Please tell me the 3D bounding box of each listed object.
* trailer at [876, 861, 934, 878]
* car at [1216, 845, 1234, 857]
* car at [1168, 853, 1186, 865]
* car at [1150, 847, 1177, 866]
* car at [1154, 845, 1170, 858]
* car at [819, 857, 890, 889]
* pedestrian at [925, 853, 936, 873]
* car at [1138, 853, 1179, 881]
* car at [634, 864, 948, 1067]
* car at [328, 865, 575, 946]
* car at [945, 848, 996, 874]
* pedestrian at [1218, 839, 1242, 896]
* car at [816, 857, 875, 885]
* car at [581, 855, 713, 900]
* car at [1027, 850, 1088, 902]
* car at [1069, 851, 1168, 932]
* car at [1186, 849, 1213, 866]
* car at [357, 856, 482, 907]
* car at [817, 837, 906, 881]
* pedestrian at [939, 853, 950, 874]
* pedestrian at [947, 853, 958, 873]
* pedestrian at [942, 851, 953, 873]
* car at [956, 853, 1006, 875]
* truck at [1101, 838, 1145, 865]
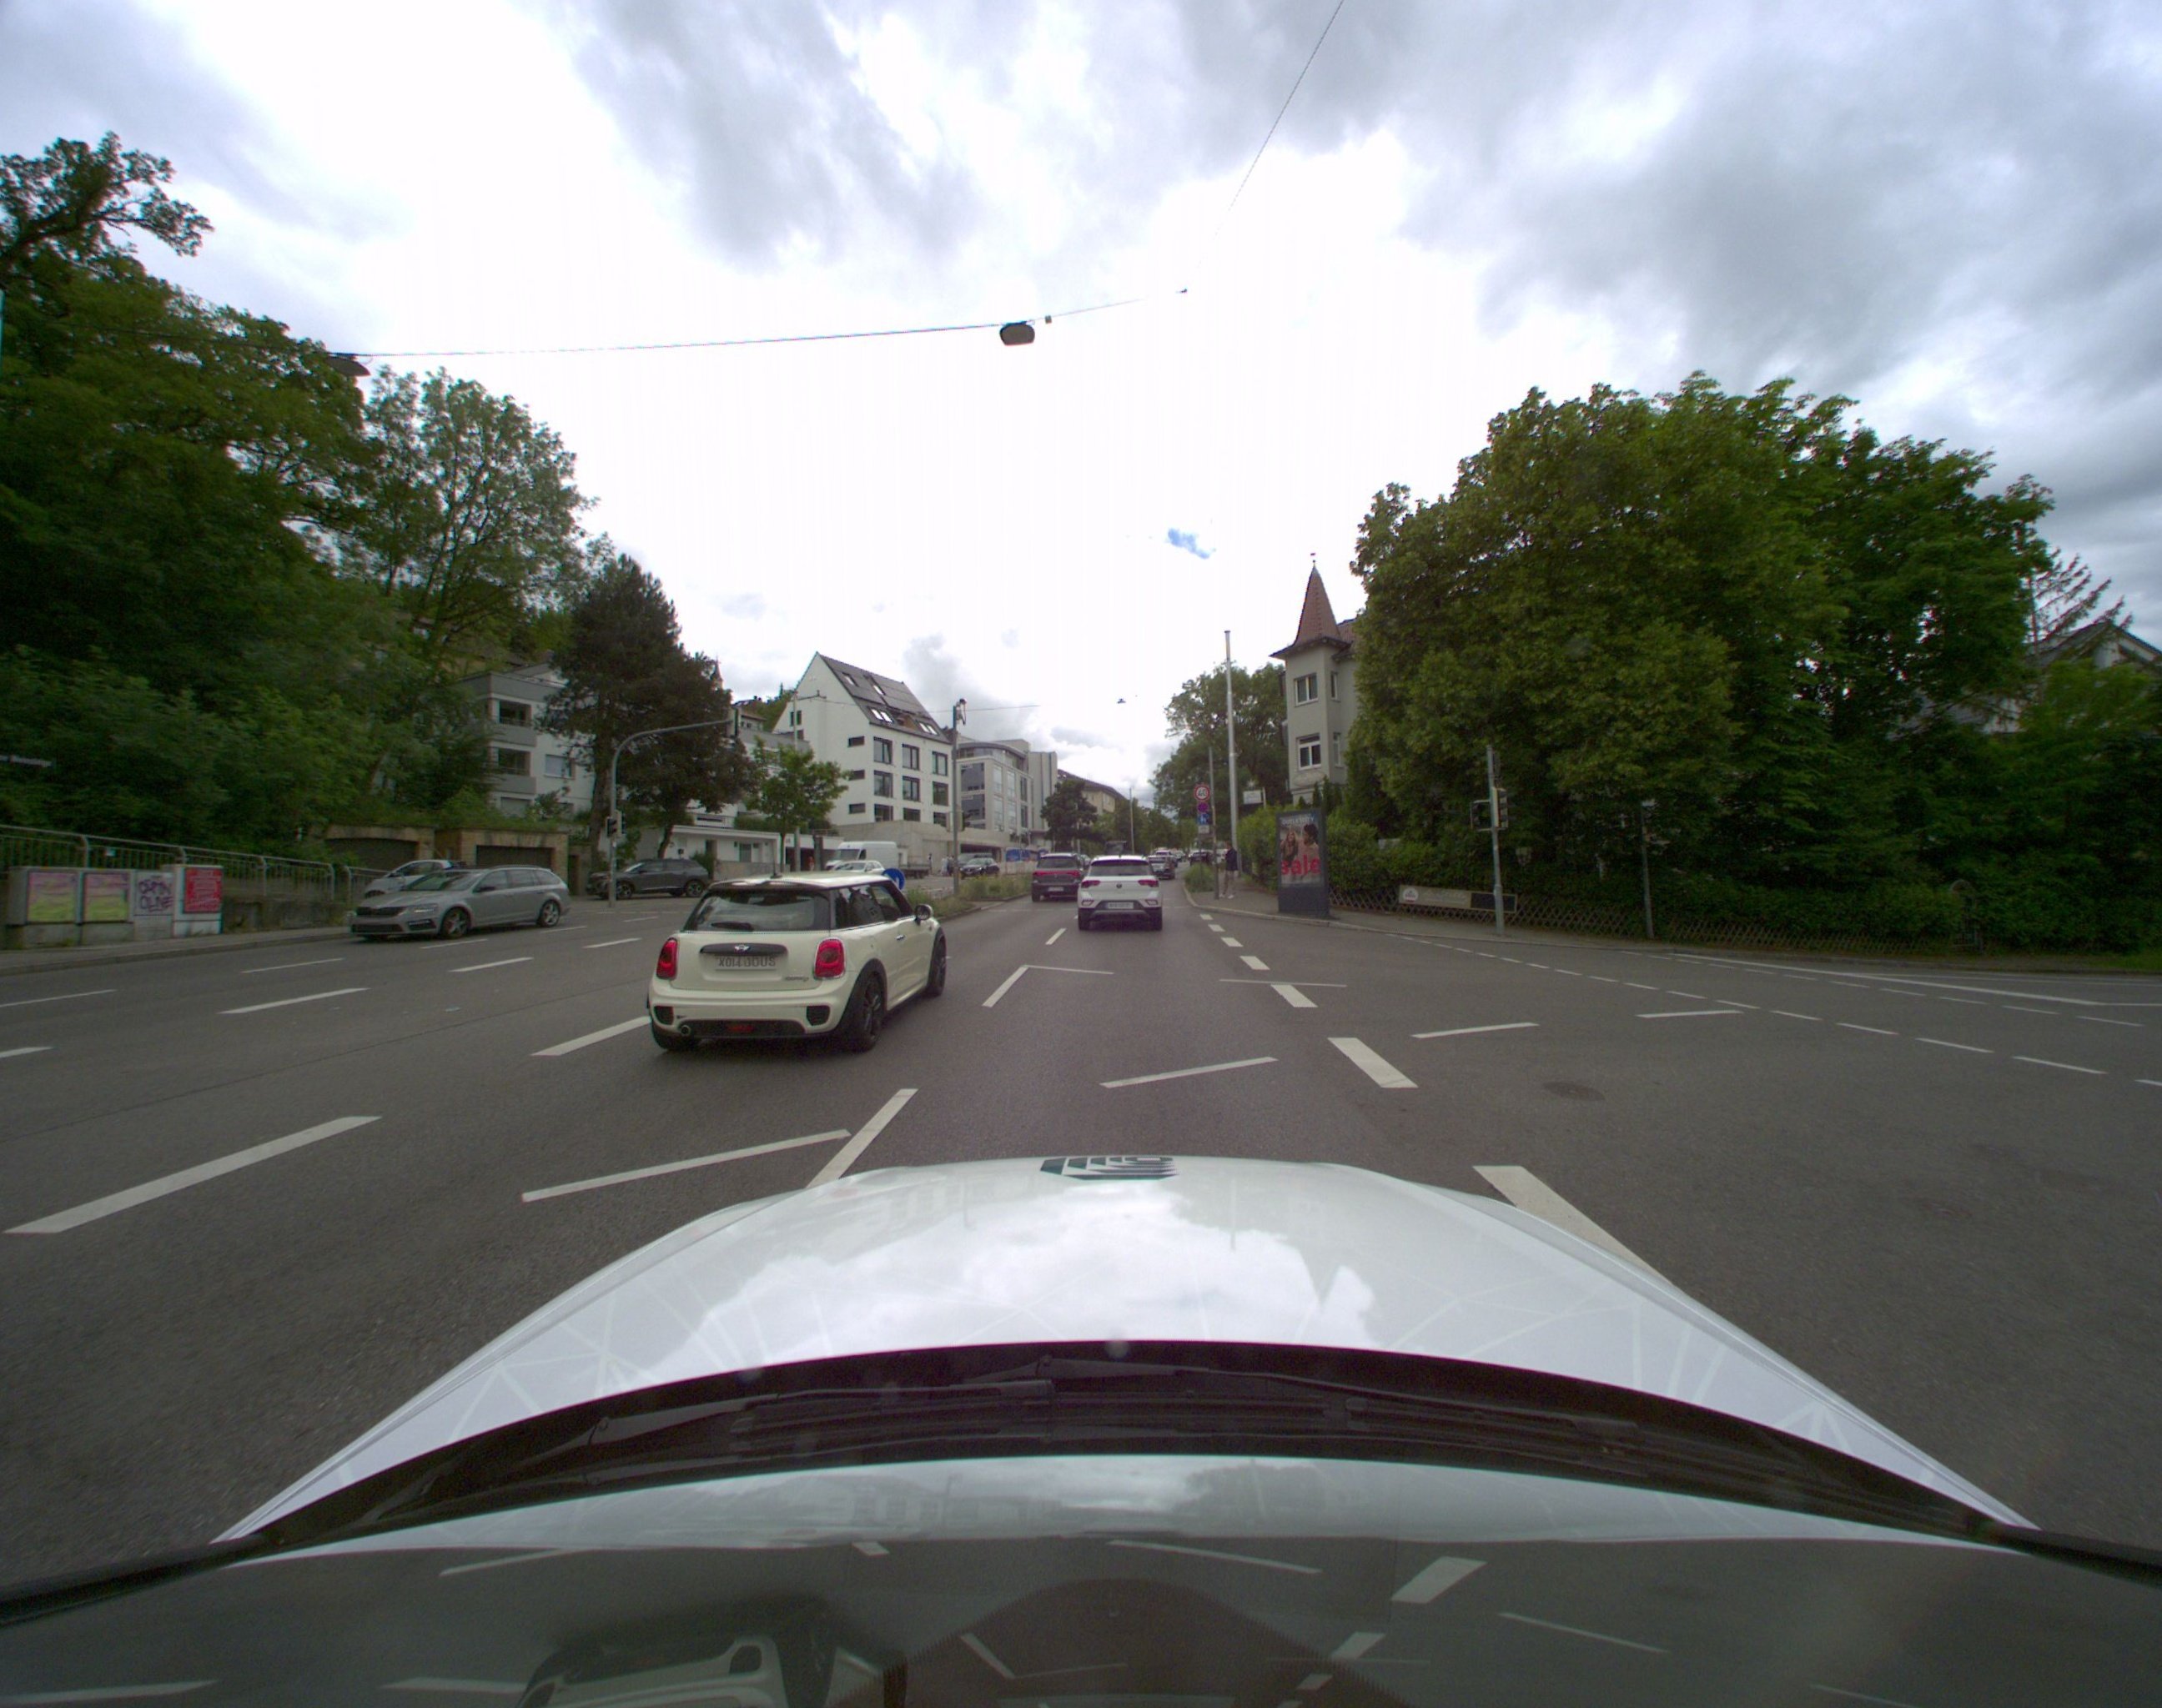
[{"bbox_3d":[-12.586,1.094,58.675,2.230,1.112,4.639,-2,0,13],"label":"trailer"},{"bbox_3d":[18.448,-0.368,104.167,1.845,1.500,4.071,-2,0,14],"label":"car"},{"bbox_3d":[12.832,0.665,109.091,1.683,1.496,4.505,-1,0,16],"label":"car"},{"bbox_3d":[7.674,0.224,75.517,1.845,1.652,4.653,-2,0,13],"label":"car"},{"bbox_3d":[15.206,-0.419,152.730,2.053,2.306,5.488,-2,0,16],"label":"car"},{"bbox_3d":[-10.695,0.874,38.815,1.641,1.393,4.154,1,0,9],"label":"car"},{"bbox_3d":[-12.053,0.716,65.115,0.620,1.640,0.675,0,0,20],"label":"pedestrian"},{"bbox_3d":[4.698,0.771,48.744,1.861,1.501,4.569,1,0,12],"label":"car"},{"bbox_3d":[-2.416,0.834,7.742,1.622,1.393,3.566,-2,0,0],"label":"car"},{"bbox_3d":[-13.205,0.995,17.522,1.645,1.449,4.569,-1,0,2],"label":"car"},{"bbox_3d":[-8.988,0.559,66.507,1.966,1.967,5.243,-2,0,18],"label":"car"},{"bbox_3d":[4.866,0.445,26.634,0.690,1.834,0.621,0,-1,5],"label":"pedestrian"},{"bbox_3d":[-13.219,0.952,46.029,1.612,1.465,3.937,-2,0,10],"label":"car"},{"bbox_3d":[-16.597,0.852,31.306,1.578,1.540,4.158,-2,0,42],"label":"car"},{"bbox_3d":[-0.762,0.729,29.147,1.806,1.652,4.638,-2,0,2],"label":"car"},{"bbox_3d":[0.718,0.753,18.085,1.807,1.539,3.685,-2,0,-3],"label":"car"},{"bbox_3d":[11.179,0.368,76.708,1.859,1.501,4.574,1,-1,16],"label":"car"},{"bbox_3d":[-20.780,0.878,25.697,2.716,1.520,1.550,2,-2,-26],"label":"car"},{"bbox_3d":[-14.061,0.311,52.806,2.215,2.568,7.449,-2,0,14],"label":"car"},{"bbox_3d":[-10.930,0.748,65.146,0.679,1.640,0.665,1,0,-35],"label":"pedestrian"},{"bbox_3d":[-10.641,0.722,67.348,0.679,1.640,0.665,1,0,-35],"label":"pedestrian"},{"bbox_3d":[-10.869,0.639,66.265,0.679,1.840,0.665,1,0,-35],"label":"pedestrian"},{"bbox_3d":[-6.858,0.676,56.173,1.611,1.393,3.878,1,0,23],"label":"car"},{"bbox_3d":[4.968,-0.303,94.656,2.938,2.971,9.017,-1,0,17],"label":"truck"}]
